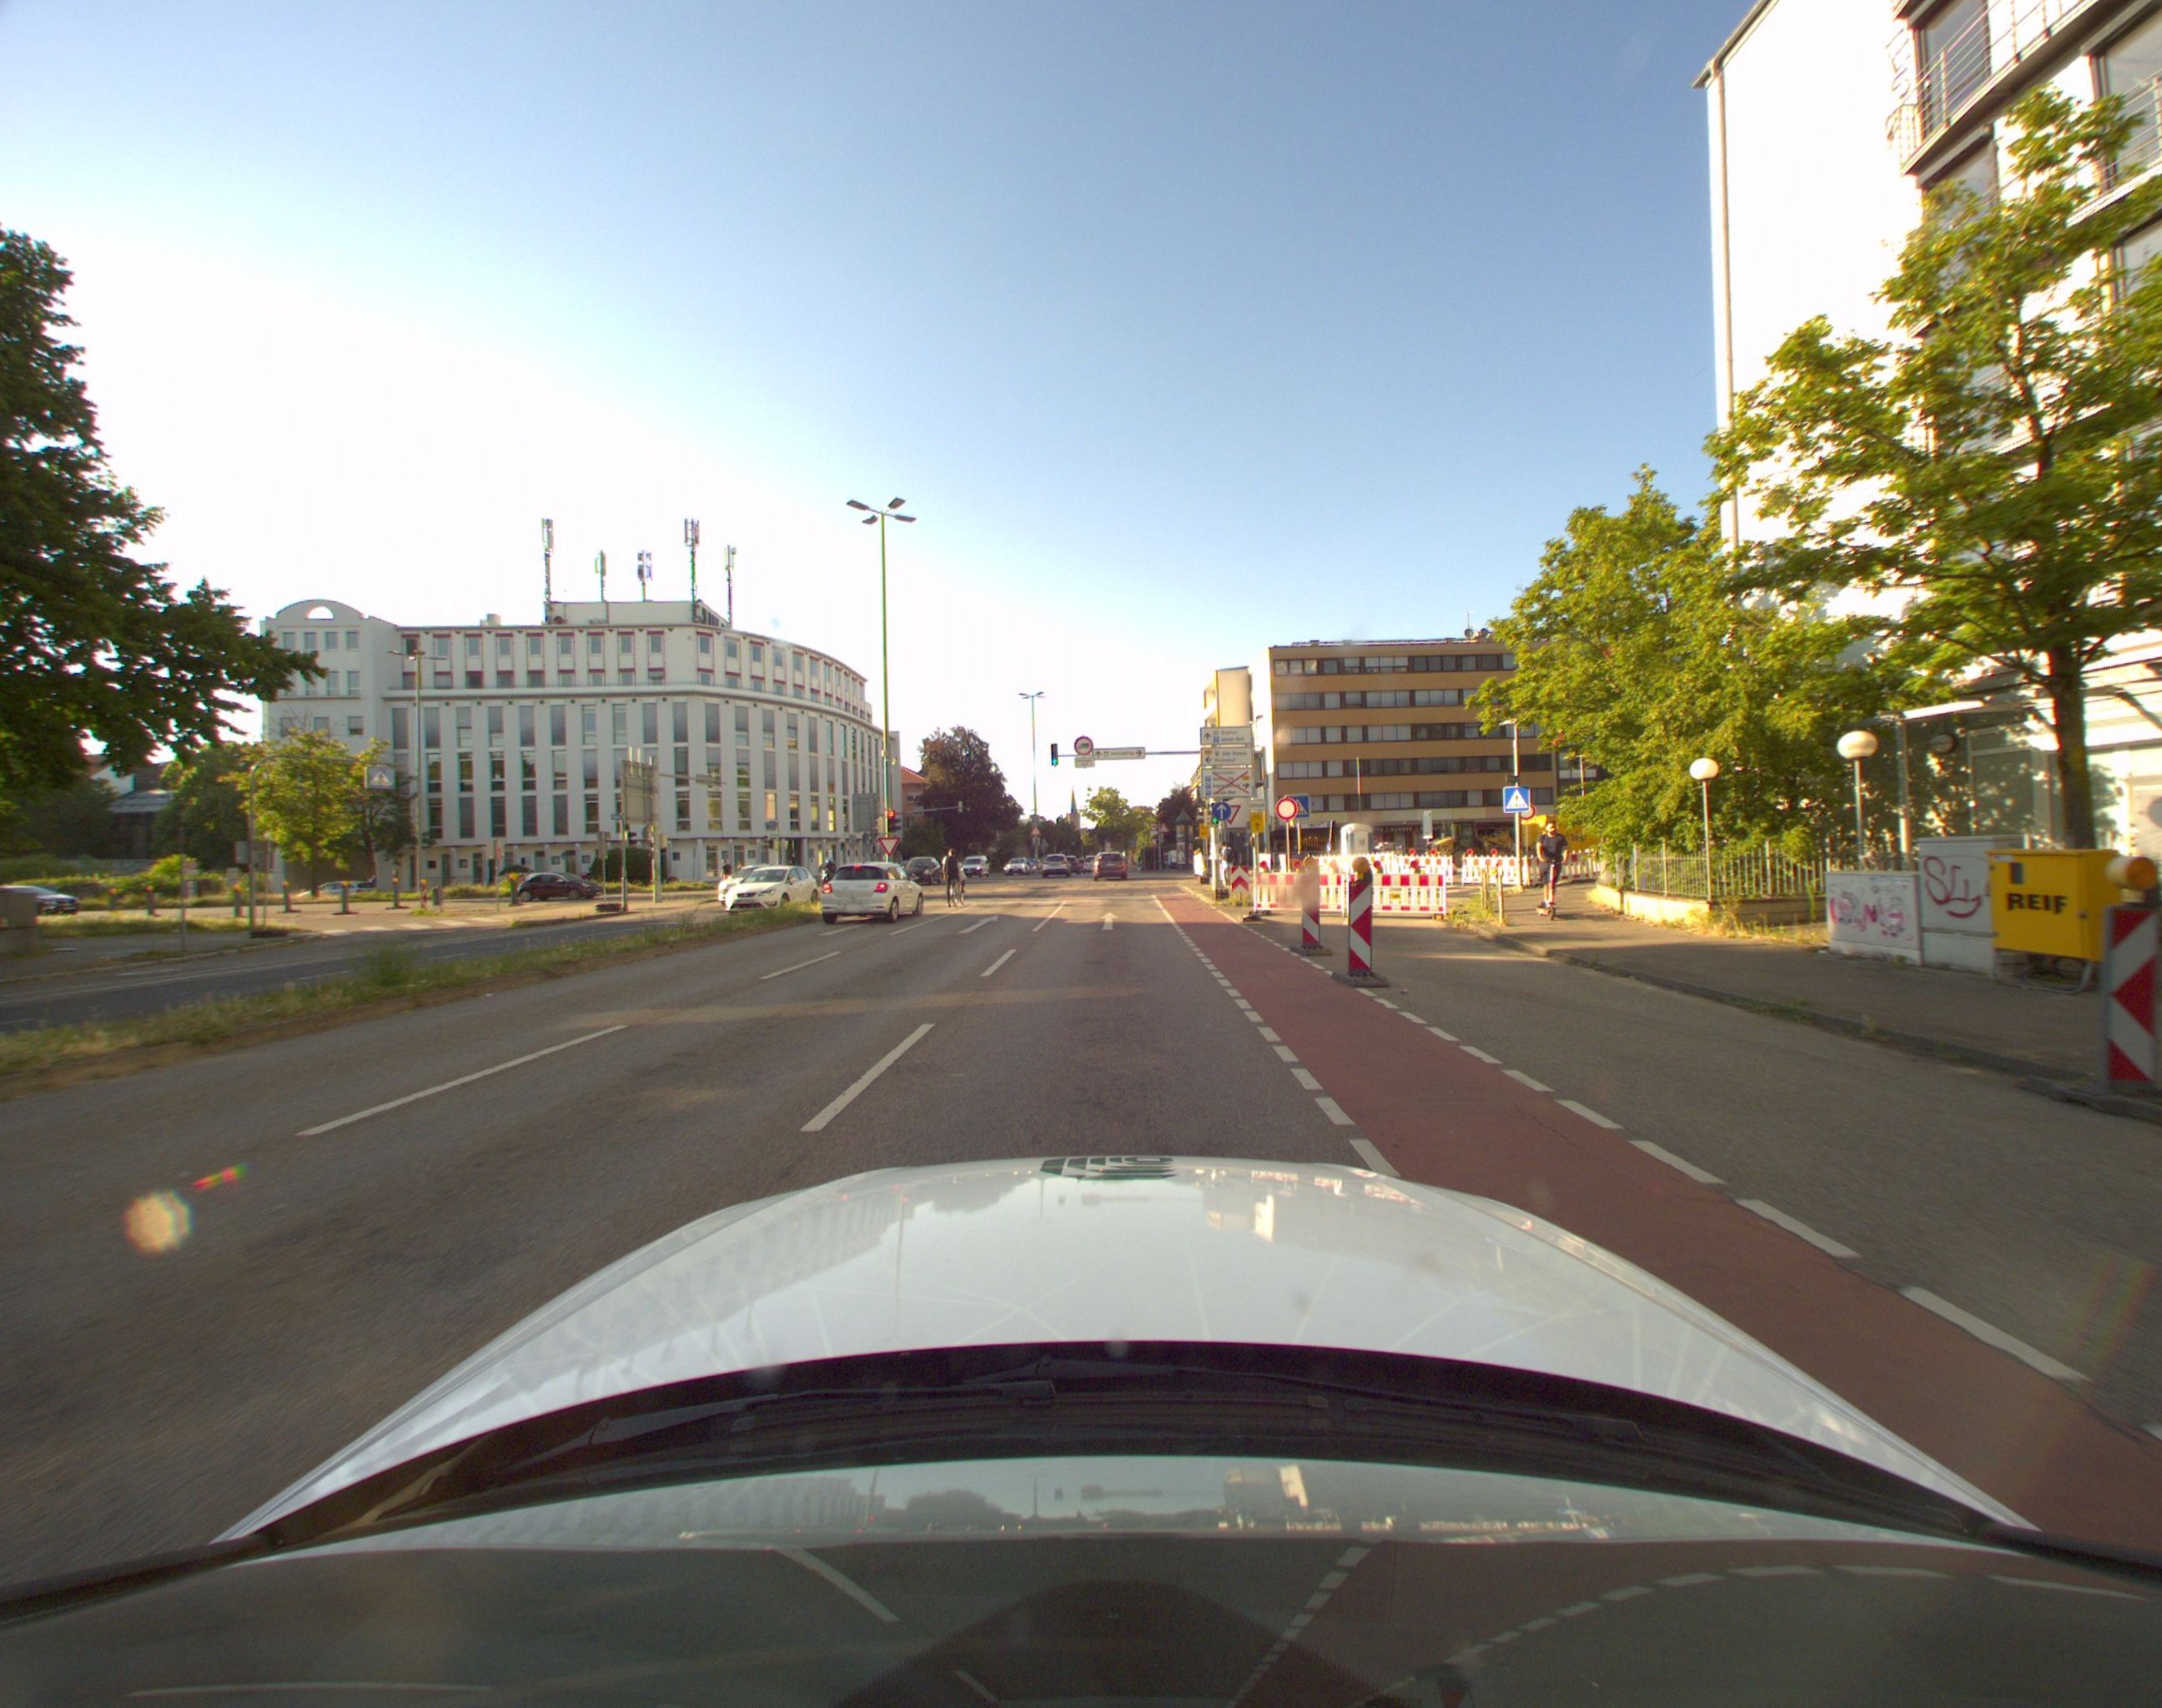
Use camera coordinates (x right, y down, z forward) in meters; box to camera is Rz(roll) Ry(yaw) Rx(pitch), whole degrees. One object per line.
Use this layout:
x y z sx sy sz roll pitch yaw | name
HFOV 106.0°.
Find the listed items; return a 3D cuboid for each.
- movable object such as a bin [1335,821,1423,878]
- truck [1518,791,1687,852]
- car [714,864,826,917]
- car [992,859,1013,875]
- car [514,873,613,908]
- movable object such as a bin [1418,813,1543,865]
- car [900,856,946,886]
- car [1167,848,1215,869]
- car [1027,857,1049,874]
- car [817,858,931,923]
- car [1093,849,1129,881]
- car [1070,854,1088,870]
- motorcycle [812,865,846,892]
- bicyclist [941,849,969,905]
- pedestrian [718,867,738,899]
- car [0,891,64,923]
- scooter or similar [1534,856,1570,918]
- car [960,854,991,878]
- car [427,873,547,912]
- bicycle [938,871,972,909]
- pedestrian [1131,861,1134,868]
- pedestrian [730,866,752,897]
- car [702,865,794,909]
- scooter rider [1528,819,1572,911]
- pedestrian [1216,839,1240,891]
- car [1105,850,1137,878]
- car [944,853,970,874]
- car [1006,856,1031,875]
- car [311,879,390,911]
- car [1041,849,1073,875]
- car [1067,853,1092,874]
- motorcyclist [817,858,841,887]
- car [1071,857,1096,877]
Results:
13.305 -0.184 36.460 3.316 2.383 1.529 -2 0 1 | movable object such as a bin
27.923 -1.681 43.807 7.312 2.898 2.806 -2 0 -2 | truck
-9.441 1.055 25.111 1.678 1.392 4.182 -2 0 2 | car
-8.713 1.429 90.246 1.874 1.654 4.048 -2 0 -1 | car
-26.488 1.846 41.753 3.798 1.530 1.862 -4 -2 -2 | car
21.126 -0.775 43.254 5.333 2.490 2.547 -2 0 -1 | movable object such as a bin
-8.637 0.911 44.769 1.652 1.494 4.000 -2 0 1 | car
10.575 0.425 78.641 4.349 1.877 2.000 -2 0 0 | car
-4.057 1.035 77.079 1.842 1.461 4.048 -2 0 -1 | car
-5.224 0.873 21.097 1.678 1.457 4.003 -2 0 3 | car
1.602 0.545 42.649 1.741 1.564 4.052 -2 0 3 | car
-0.198 0.841 87.835 1.658 1.657 4.003 -2 0 3 | car
-12.822 1.207 41.545 0.767 1.284 2.842 -2 0 0 | motorcycle
-4.030 0.722 26.047 0.689 1.728 0.987 -2 0 -1 | bicyclist
-21.253 1.740 49.050 0.654 1.859 0.783 -2 -1 24 | pedestrian
-51.508 2.559 38.543 3.985 1.354 1.823 -2 0 -8 | car
9.455 0.640 16.374 0.327 1.194 1.256 -2 0 17 | scooter or similar
-8.816 0.966 68.364 1.909 1.811 4.716 -2 0 0 | car
-28.327 1.836 38.908 4.323 1.629 2.004 -2 0 6 | car
-4.013 1.119 26.042 0.697 1.100 2.257 -2 0 -1 | bicycle
12.556 2.483 198.080 0.763 1.684 0.999 -2 0 2 | pedestrian
-20.405 1.644 48.893 0.751 1.842 0.823 -2 -1 28 | pedestrian
-13.106 1.237 32.343 1.679 1.498 4.514 -2 0 1 | car
9.430 0.222 16.394 0.610 1.789 0.489 -2 0 16 | scooter rider
5.242 0.390 29.058 0.736 1.799 0.717 -2 -1 12 | pedestrian
2.463 0.600 51.135 1.813 1.640 4.001 -2 0 1 | car
-11.320 0.868 74.483 1.743 1.811 4.048 -2 0 0 | car
-5.436 0.986 70.996 1.842 1.461 4.048 -2 0 -1 | car
-49.086 2.758 54.815 3.893 1.736 1.752 -2 -8 -40 | car
-1.559 0.494 53.814 1.741 1.564 4.052 -2 0 3 | car
-0.061 0.703 65.378 1.741 1.564 4.052 -2 0 3 | car
-12.826 0.933 41.523 0.767 1.419 1.238 -2 0 0 | motorcyclist
0.240 1.176 71.280 1.986 1.508 4.000 -4 -2 1 | car
